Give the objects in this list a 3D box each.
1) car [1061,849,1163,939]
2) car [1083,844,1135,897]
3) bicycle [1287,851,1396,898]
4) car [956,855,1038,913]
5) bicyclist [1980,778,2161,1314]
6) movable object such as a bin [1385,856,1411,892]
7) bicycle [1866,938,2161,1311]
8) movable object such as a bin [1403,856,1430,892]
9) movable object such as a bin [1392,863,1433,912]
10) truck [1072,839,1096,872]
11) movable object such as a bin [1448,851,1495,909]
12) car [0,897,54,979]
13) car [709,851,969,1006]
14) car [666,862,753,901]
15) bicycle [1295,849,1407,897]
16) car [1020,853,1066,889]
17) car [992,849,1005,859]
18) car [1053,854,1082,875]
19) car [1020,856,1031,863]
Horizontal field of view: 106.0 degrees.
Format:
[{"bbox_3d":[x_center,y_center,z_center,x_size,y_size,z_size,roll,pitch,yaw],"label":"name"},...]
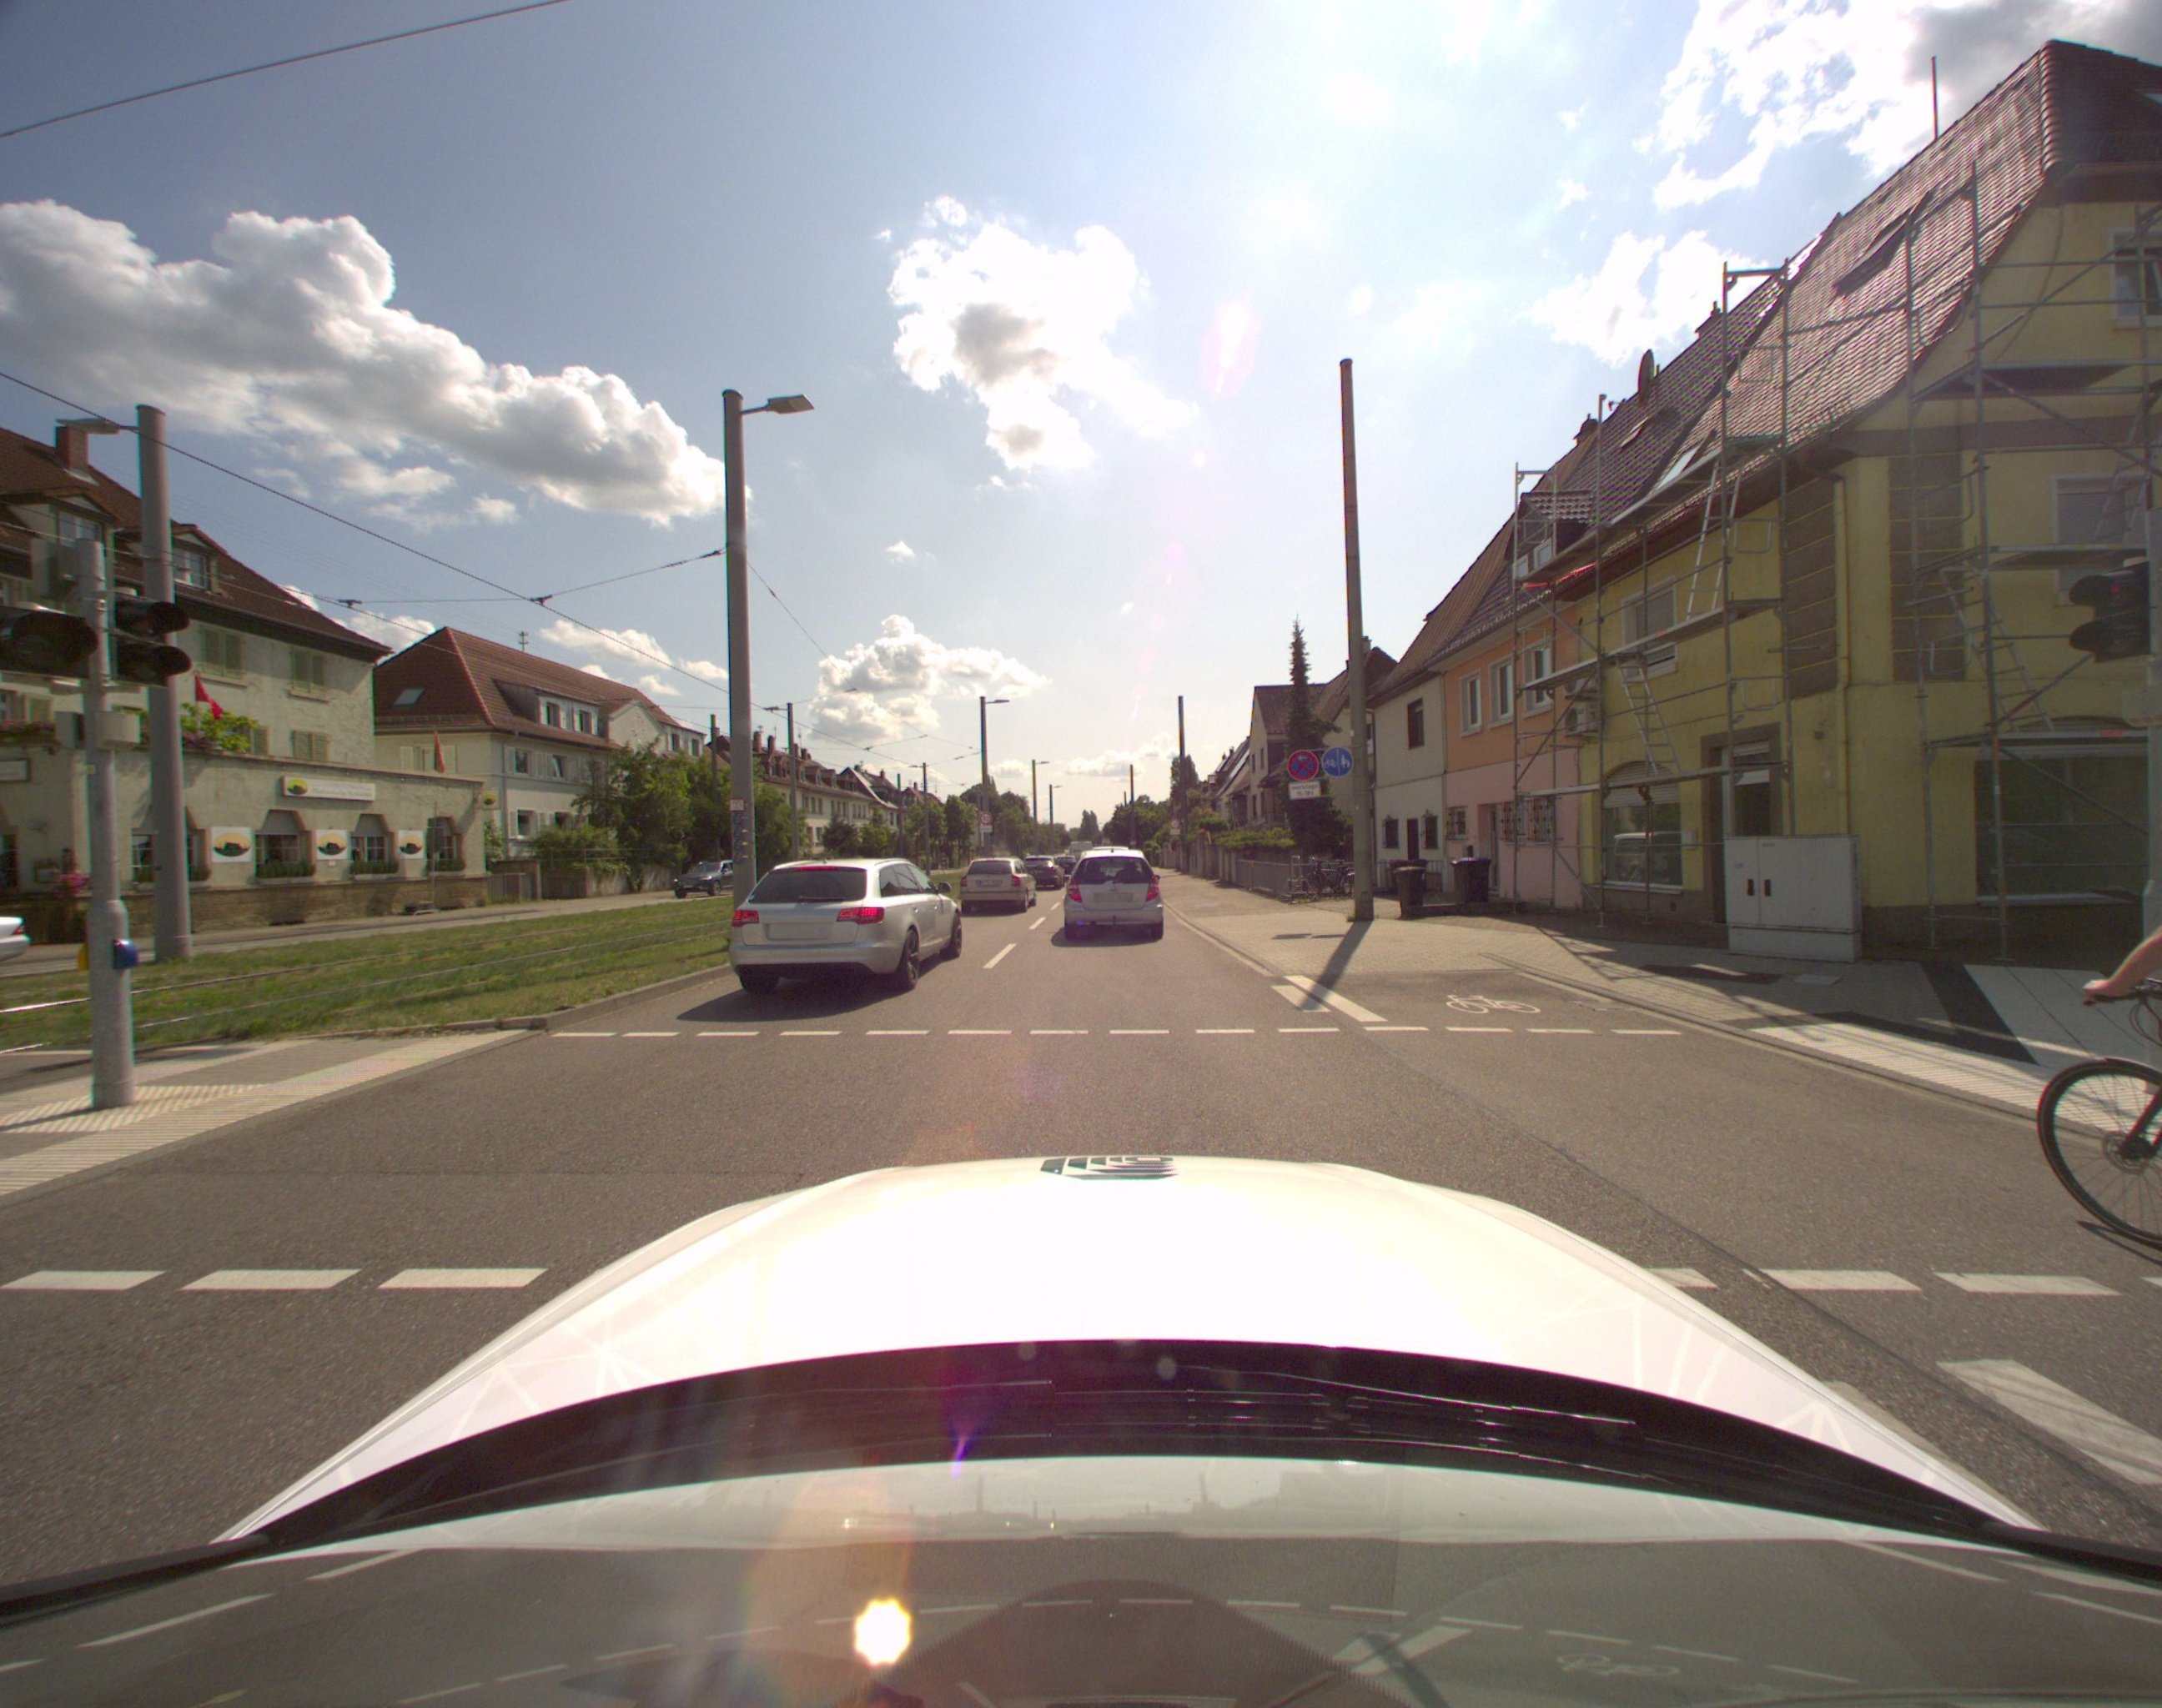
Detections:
[{"bbox_3d":[0.561,0.681,15.822,1.724,1.517,4.017,0,0,1],"label":"car"},{"bbox_3d":[0.980,0.558,29.036,1.723,1.762,4.018,0,0,1],"label":"car"},{"bbox_3d":[7.074,0.555,22.173,2.716,1.119,0.691,-3,0,0],"label":"bicycle"},{"bbox_3d":[-2.233,0.767,22.654,1.724,1.449,4.125,0,0,2],"label":"car"},{"bbox_3d":[3.982,0.624,2.682,0.824,1.793,1.086,-3,1,6],"label":"bicyclist"},{"bbox_3d":[8.504,0.536,21.843,0.466,0.946,0.558,-2,0,1],"label":"movable object such as a bin"},{"bbox_3d":[4.008,0.967,2.800,0.824,1.075,1.975,-3,1,6],"label":"bicycle"},{"bbox_3d":[8.993,0.532,21.828,0.466,0.946,0.558,-2,0,1],"label":"movable object such as a bin"},{"bbox_3d":[6.479,0.645,15.926,0.509,0.918,0.742,-1,0,2],"label":"movable object such as a bin"},{"bbox_3d":[0.236,0.129,66.092,1.846,2.552,5.854,0,0,0],"label":"truck"},{"bbox_3d":[7.696,0.496,16.081,0.509,1.105,0.855,-1,0,2],"label":"movable object such as a bin"},{"bbox_3d":[-19.717,1.511,12.615,1.787,1.387,4.474,-3,0,3],"label":"car"},{"bbox_3d":[-2.708,0.728,10.383,1.788,1.472,4.723,-1,0,1],"label":"car"},{"bbox_3d":[-18.536,1.314,40.945,2.008,1.711,4.936,-3,0,0],"label":"car"},{"bbox_3d":[7.074,0.489,21.427,2.652,1.105,0.786,-3,0,1],"label":"bicycle"},{"bbox_3d":[-1.635,0.699,36.215,1.911,1.477,4.560,0,0,-1],"label":"car"},{"bbox_3d":[-18.022,0.000,178.174,1.908,2.330,4.567,0,0,4],"label":"car"},{"bbox_3d":[-0.874,0.688,54.737,1.846,1.388,4.514,0,0,0],"label":"car"},{"bbox_3d":[-12.236,1.308,179.688,1.908,1.477,4.567,0,0,4],"label":"car"}]
